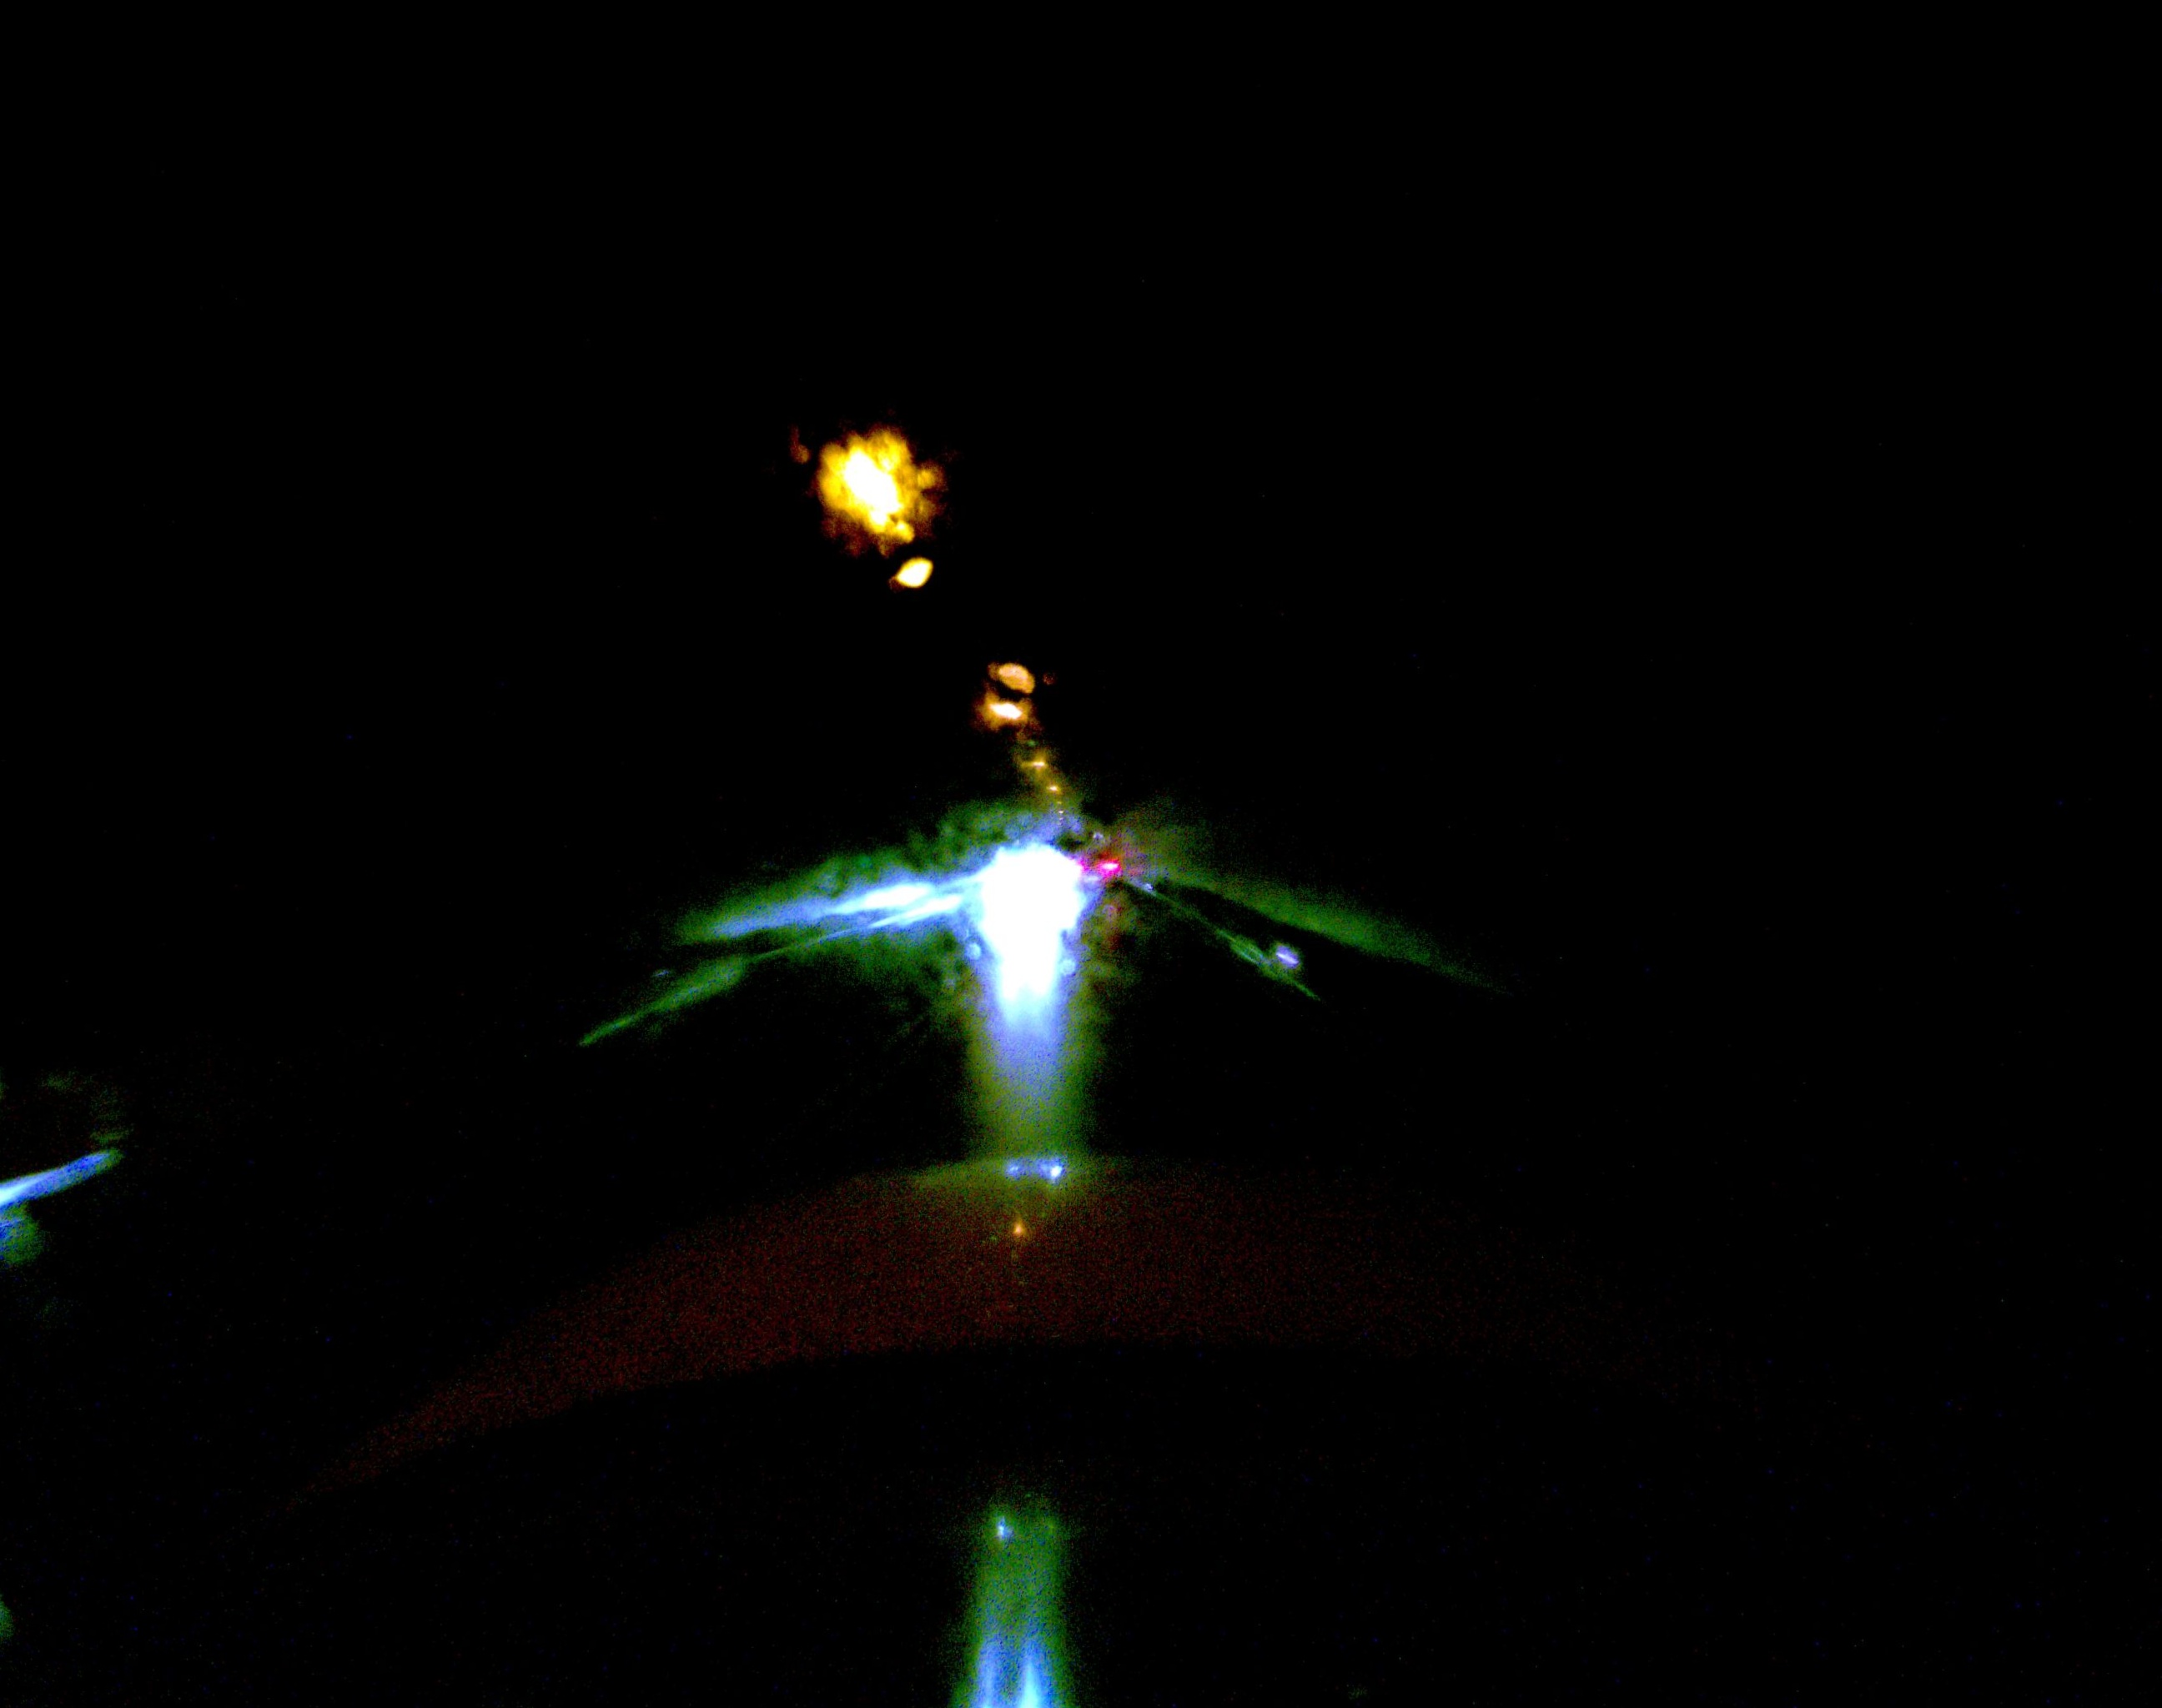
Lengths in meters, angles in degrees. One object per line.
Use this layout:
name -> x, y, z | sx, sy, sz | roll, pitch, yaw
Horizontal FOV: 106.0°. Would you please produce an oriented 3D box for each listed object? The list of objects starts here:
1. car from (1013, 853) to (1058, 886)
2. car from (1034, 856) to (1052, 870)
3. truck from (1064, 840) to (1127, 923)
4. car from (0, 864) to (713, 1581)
car -> -2.129, 0.704, 39.107 | 1.806, 1.482, 4.202 | -1, 0, 1
car -> -4.013, 0.930, 86.535 | 1.650, 1.493, 3.838 | 1, 0, 0
truck -> 0.646, 1.011, 33.158 | 2.253, 3.011, 7.418 | 0, 0, 2
car -> -3.100, 0.812, 2.924 | 1.654, 1.490, 3.964 | -1, 0, 1
